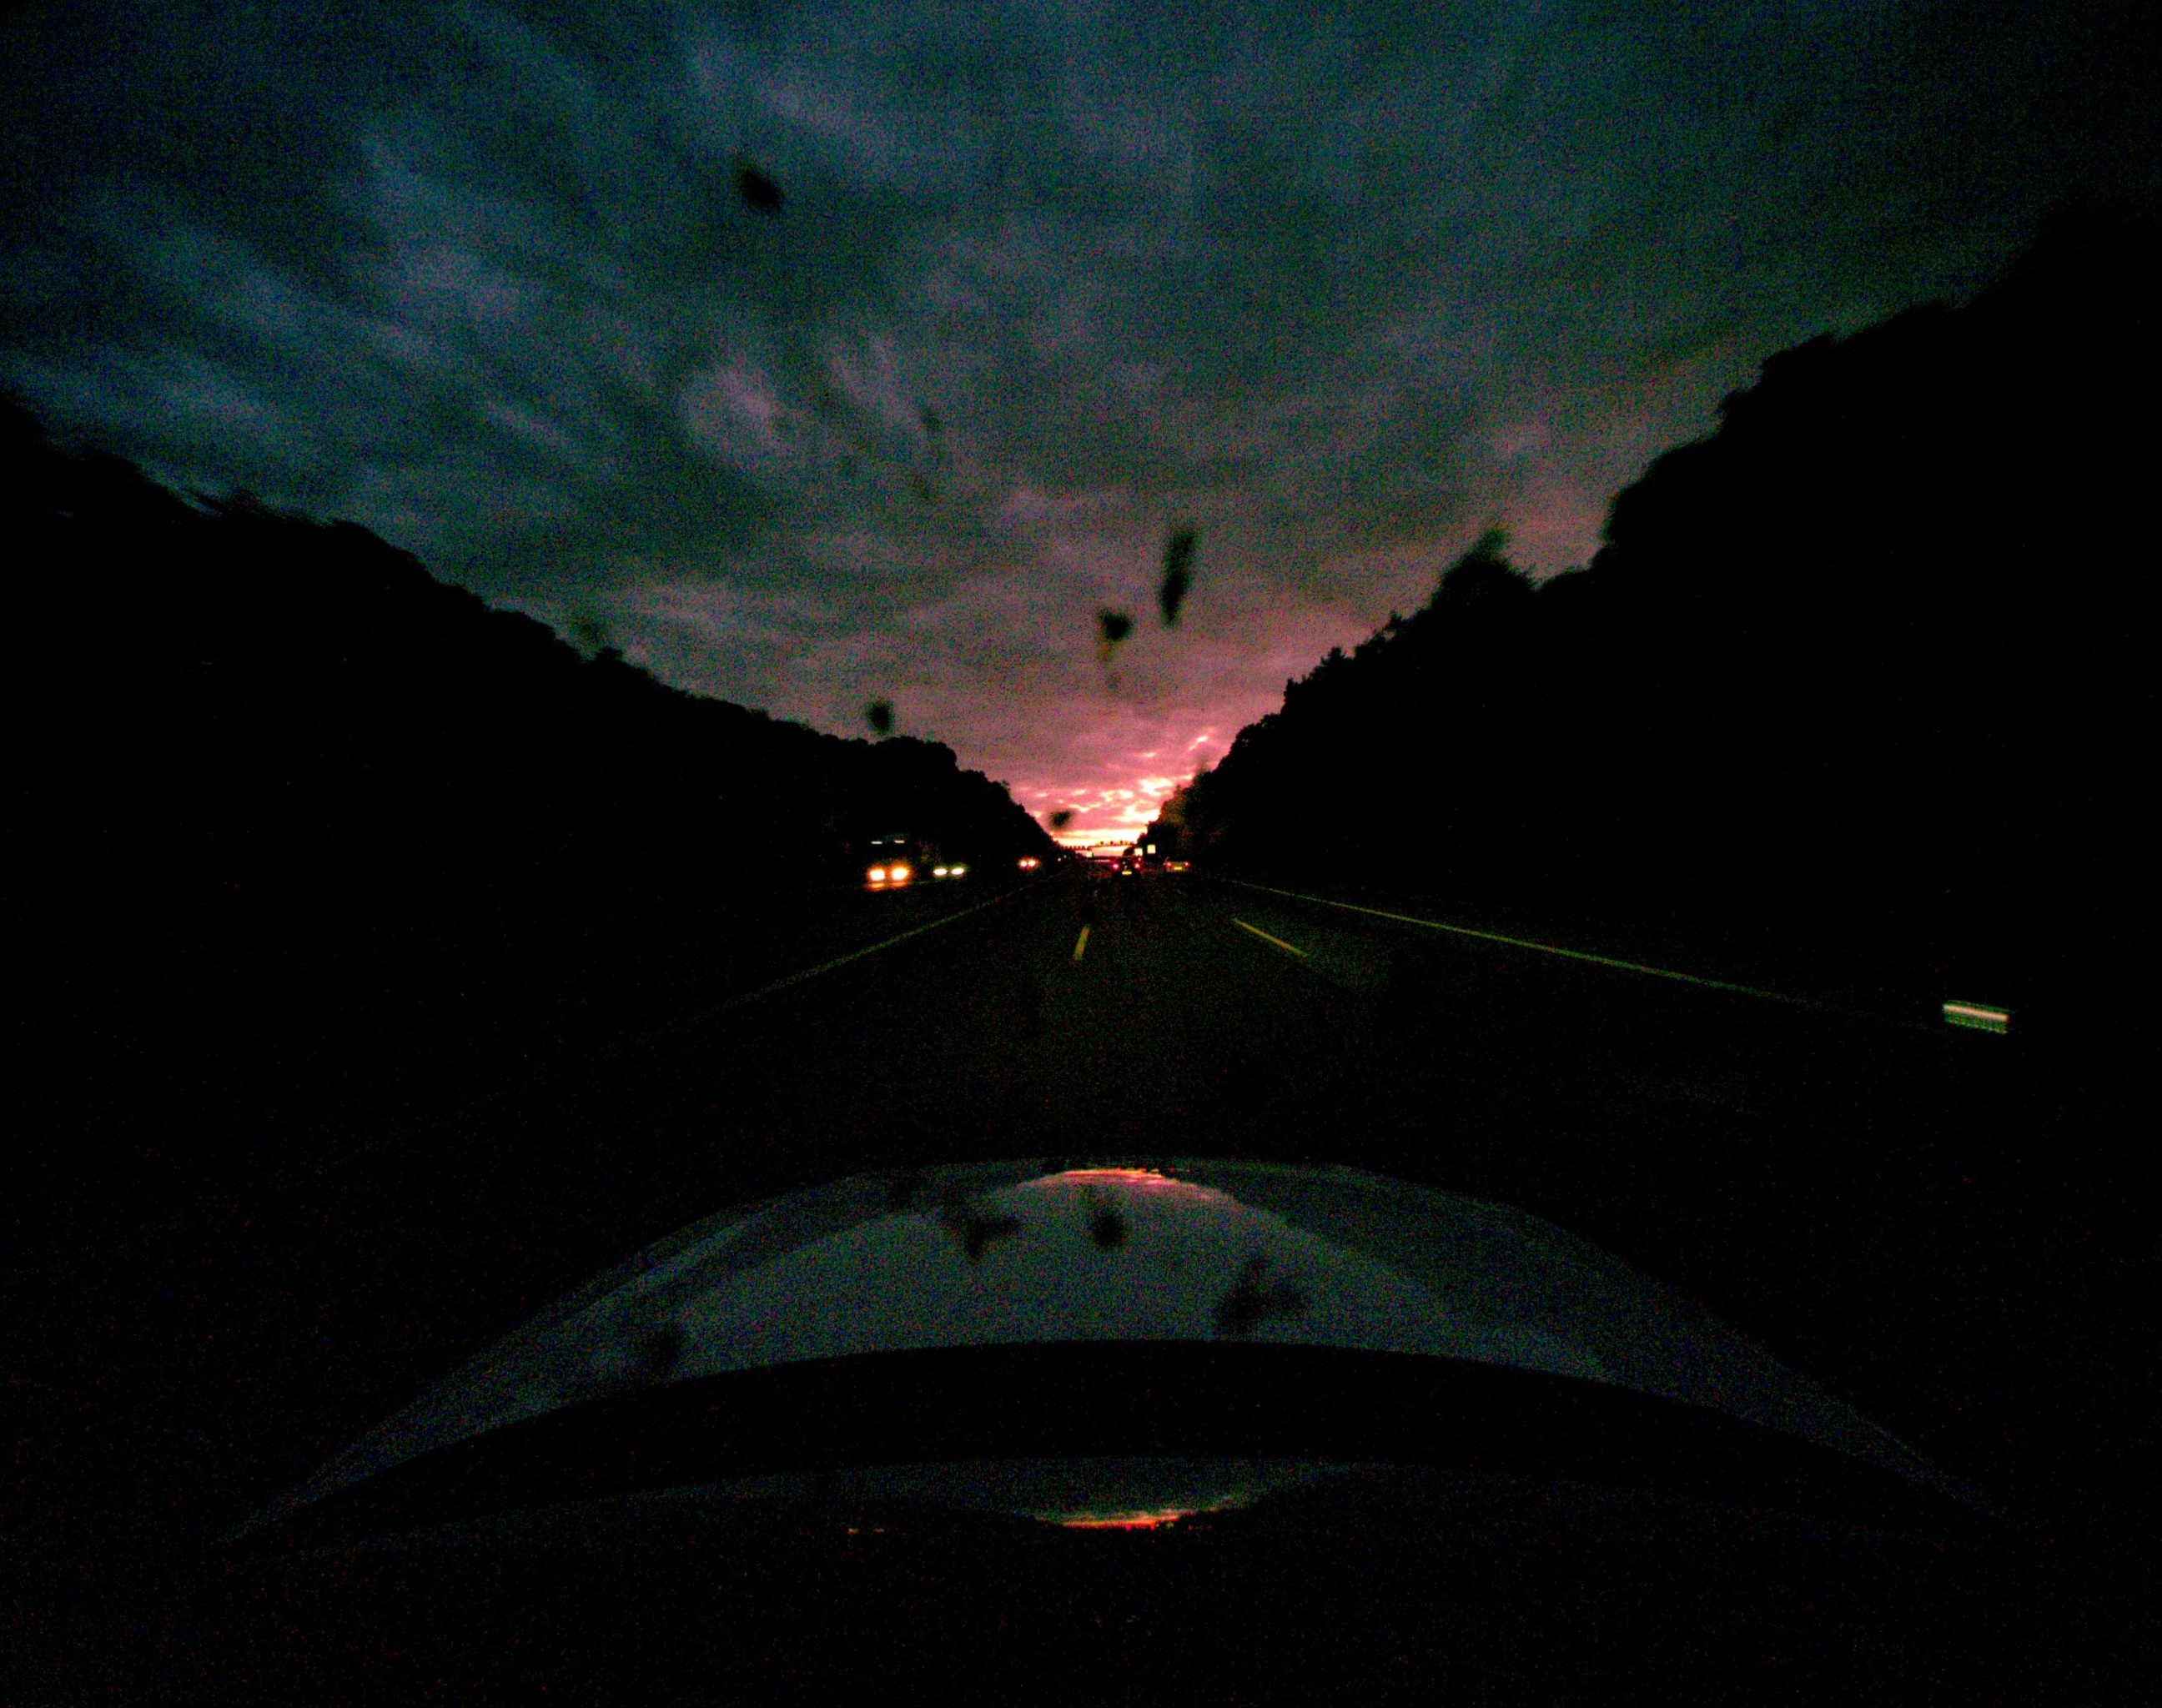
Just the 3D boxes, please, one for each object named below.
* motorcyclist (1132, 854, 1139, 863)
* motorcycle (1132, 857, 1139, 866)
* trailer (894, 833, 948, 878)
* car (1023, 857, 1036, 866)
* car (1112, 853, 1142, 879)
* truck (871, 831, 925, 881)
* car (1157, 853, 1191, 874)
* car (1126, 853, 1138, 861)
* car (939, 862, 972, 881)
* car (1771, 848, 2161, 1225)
[{"bbox_3d":[7.828,0.661,116.623,0.827,1.291,1.190,-2,-1,1],"label":"motorcyclist"},{"bbox_3d":[7.850,1.095,116.683,0.826,1.134,2.476,-2,-1,2],"label":"motorcycle"},{"bbox_3d":[-15.130,0.143,77.973,2.636,3.930,10.190,-2,0,2],"label":"trailer"},{"bbox_3d":[-9.027,1.309,143.886,1.874,1.574,4.655,-2,0,1],"label":"car"},{"bbox_3d":[2.729,0.730,49.466,1.697,1.509,4.233,-1,-1,2],"label":"car"},{"bbox_3d":[-15.463,0.145,69.274,2.637,3.971,7.125,-2,0,2],"label":"truck"},{"bbox_3d":[6.748,0.722,59.561,1.821,1.476,4.393,0,-1,-3],"label":"car"},{"bbox_3d":[9.486,0.564,151.265,1.861,1.494,4.393,0,-1,-3],"label":"car"},{"bbox_3d":[-10.995,1.497,71.677,1.903,1.451,5.357,-2,0,2],"label":"car"},{"bbox_3d":[5.028,0.682,2.581,1.858,1.436,4.584,0,-1,1],"label":"car"}]
